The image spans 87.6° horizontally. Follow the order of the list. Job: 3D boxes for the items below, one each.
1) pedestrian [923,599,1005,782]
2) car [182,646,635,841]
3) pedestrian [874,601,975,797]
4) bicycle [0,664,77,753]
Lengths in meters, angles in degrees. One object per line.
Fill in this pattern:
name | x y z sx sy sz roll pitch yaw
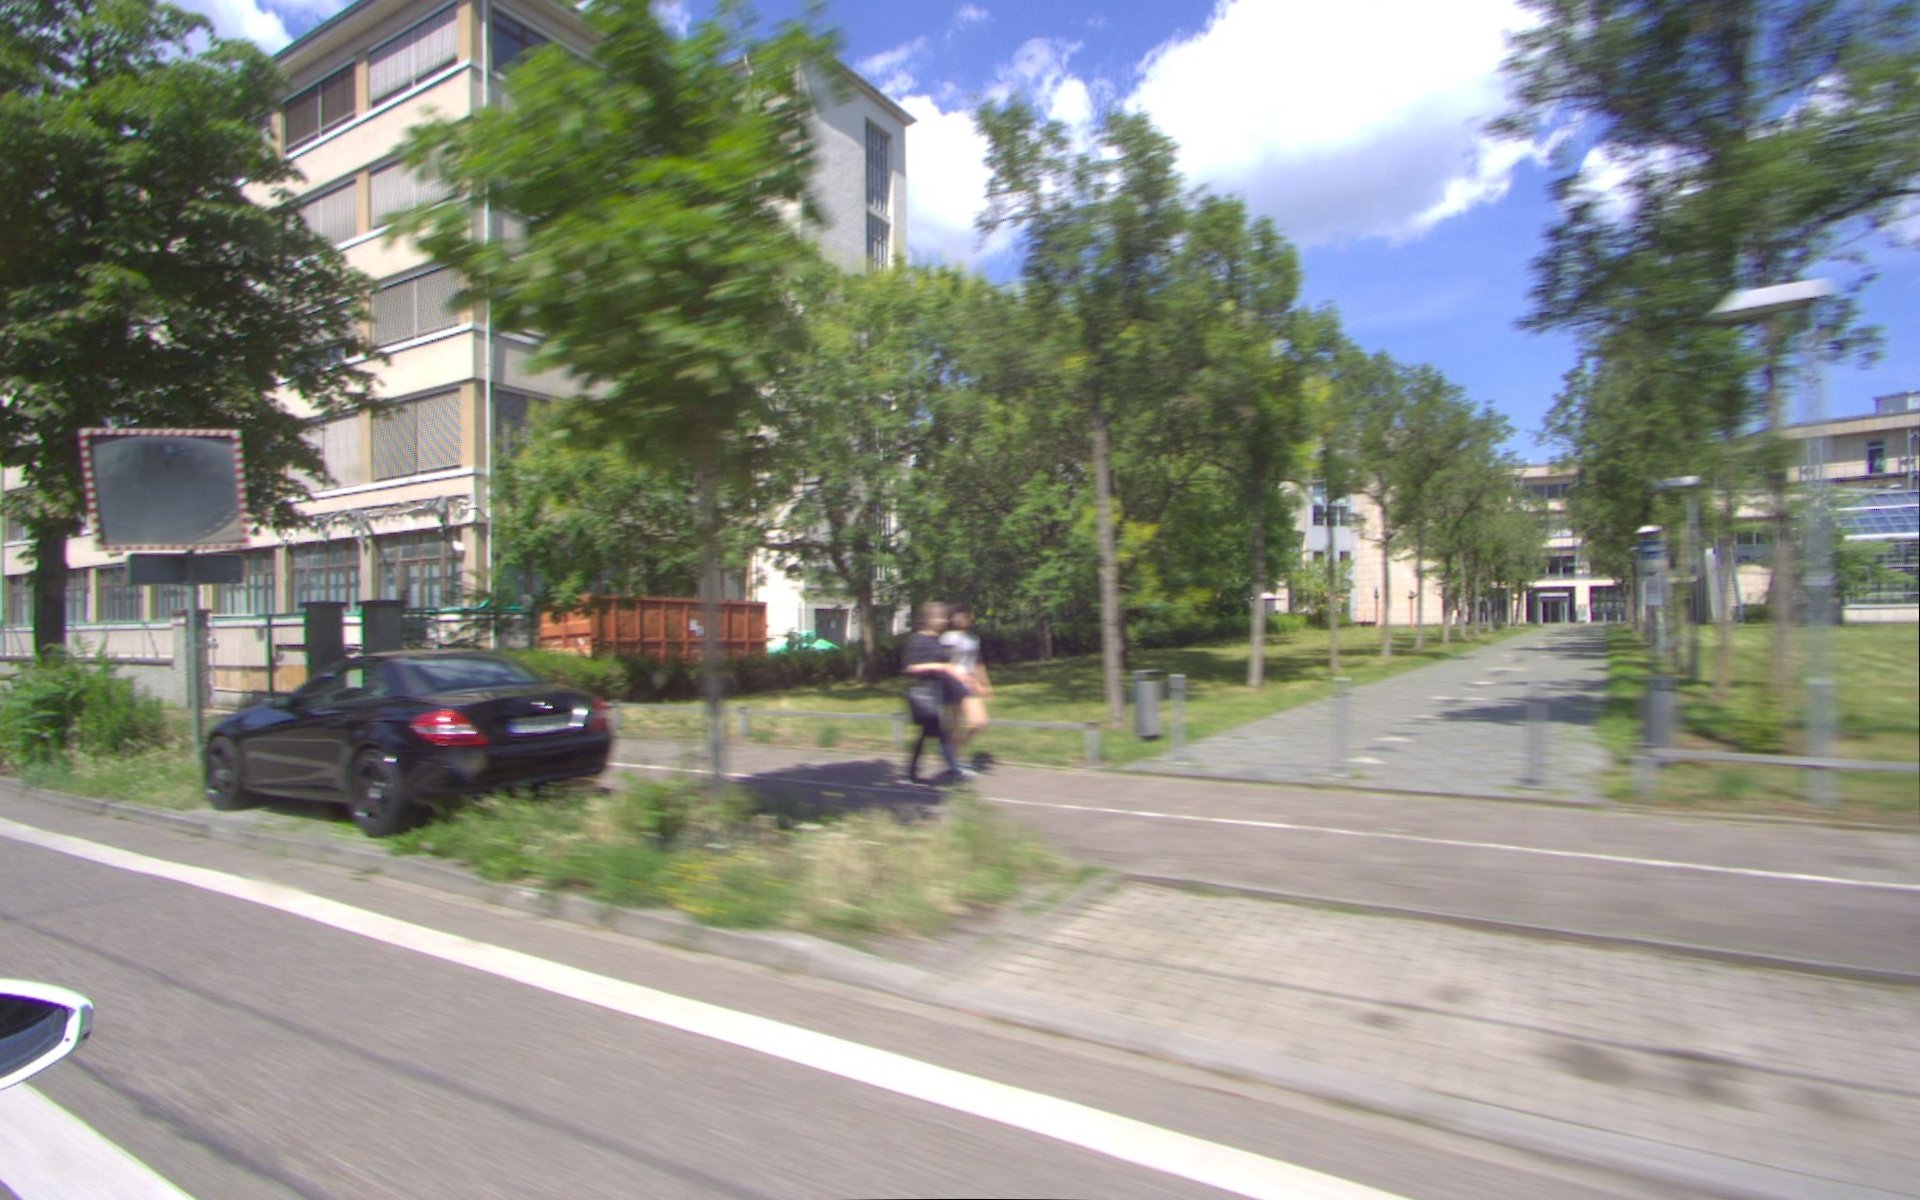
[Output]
pedestrian | 0.039 0.799 9.113 0.537 1.594 0.511 -1 1 32
car | -4.705 1.038 8.438 3.779 1.286 1.749 -1 -3 32
pedestrian | -0.301 0.813 8.587 0.602 1.594 0.617 -1 1 32
bicycle | -12.318 1.388 12.708 0.554 1.074 1.583 -1 -1 30
